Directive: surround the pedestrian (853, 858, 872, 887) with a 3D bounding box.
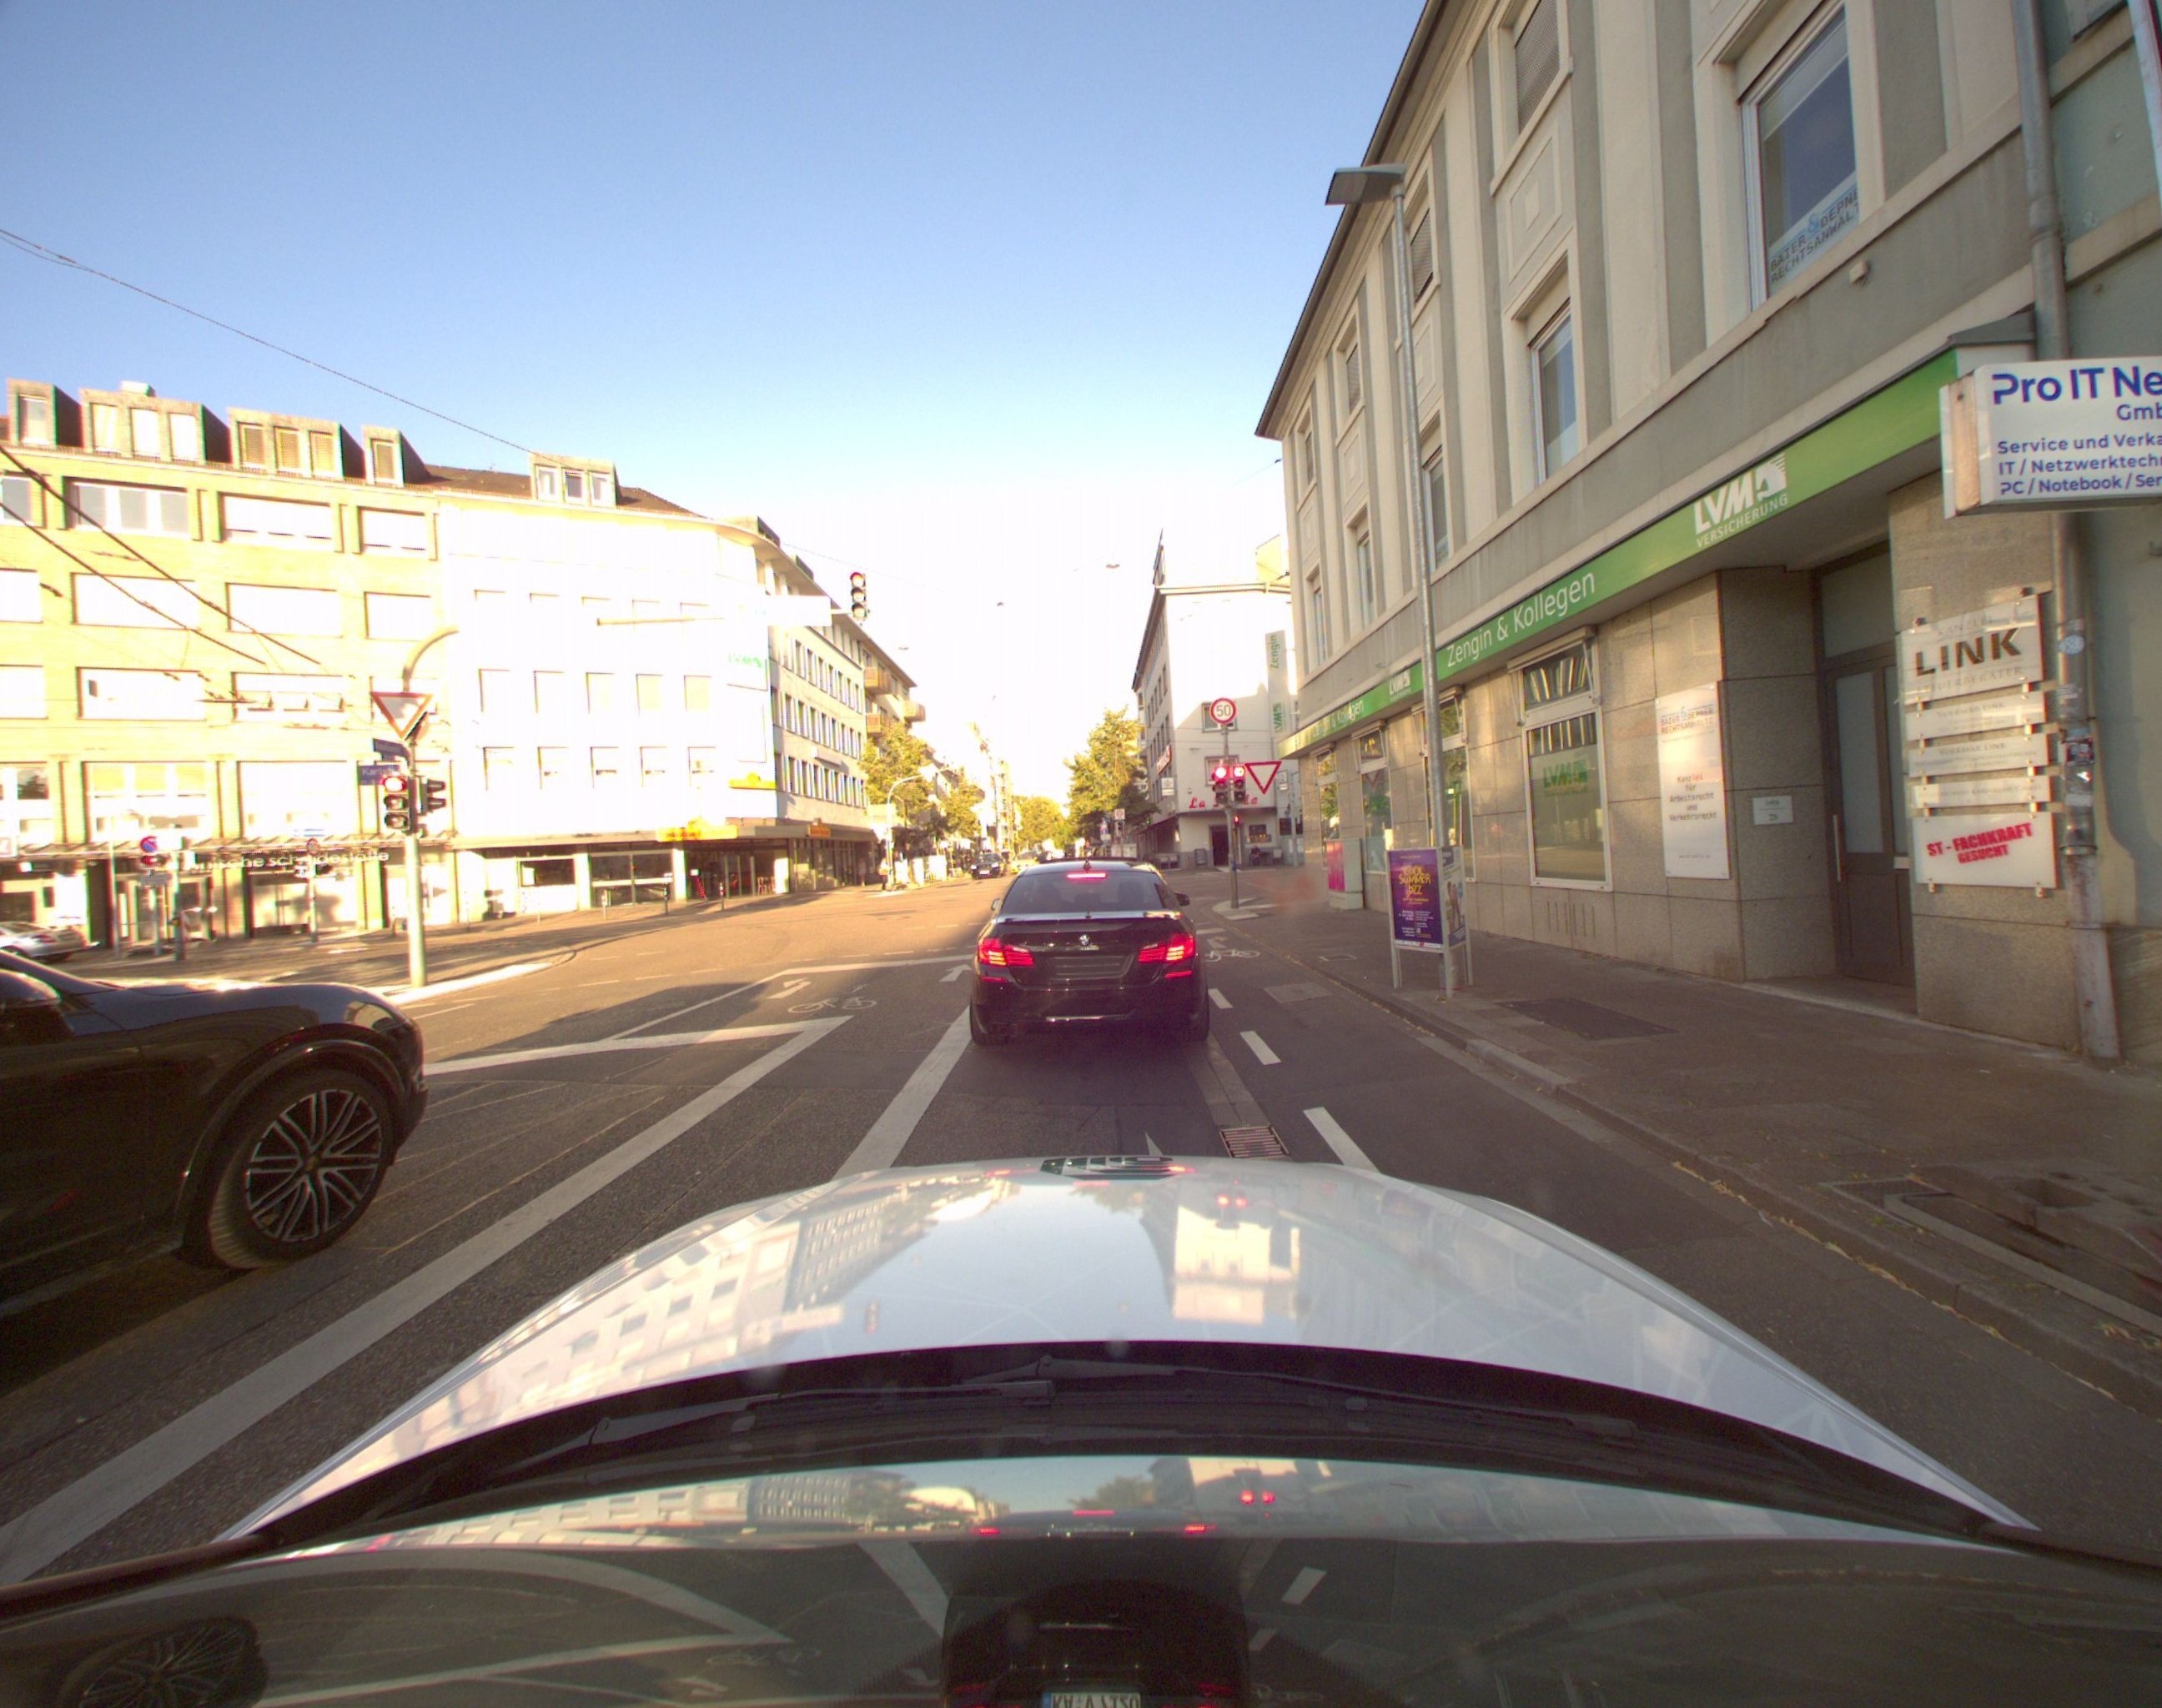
[{"bbox_3d":[-13.176,1.111,49.056,0.821,1.676,0.871,-3,0,-1],"label":"pedestrian"}]

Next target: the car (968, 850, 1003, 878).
[{"bbox_3d":[-6.120,0.639,52.540,1.990,1.618,3.993,-3,0,-5],"label":"car"}]

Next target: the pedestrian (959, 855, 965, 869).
[{"bbox_3d":[-12.306,0.835,84.404,0.443,1.416,0.525,-3,0,-2],"label":"pedestrian"}]

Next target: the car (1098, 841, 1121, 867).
[{"bbox_3d":[2.136,0.036,61.116,1.417,1.854,3.050,-2,0,-2],"label":"car"}]

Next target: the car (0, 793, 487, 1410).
[{"bbox_3d":[-4.016,0.751,1.785,1.942,1.714,4.561,-4,0,0],"label":"car"}]

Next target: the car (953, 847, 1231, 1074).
[{"bbox_3d":[0.065,0.707,7.796,1.898,1.540,4.448,0,0,-1],"label":"car"}]

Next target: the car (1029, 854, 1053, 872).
[{"bbox_3d":[-3.190,0.720,64.677,1.731,1.293,3.993,-3,0,-5],"label":"car"}]

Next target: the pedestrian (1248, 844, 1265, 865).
[{"bbox_3d":[9.981,0.009,46.249,0.695,1.157,0.843,-3,0,-1],"label":"pedestrian"}]

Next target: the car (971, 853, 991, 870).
[{"bbox_3d":[-9.739,0.713,79.431,1.731,1.461,3.993,-3,0,-5],"label":"car"}]

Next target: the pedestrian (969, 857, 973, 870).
[{"bbox_3d":[-11.402,0.970,84.615,0.306,1.359,0.284,-3,0,-9],"label":"pedestrian"}]

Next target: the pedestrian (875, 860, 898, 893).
[{"bbox_3d":[-9.490,1.098,39.734,0.945,1.537,0.906,-3,0,-8],"label":"pedestrian"}]

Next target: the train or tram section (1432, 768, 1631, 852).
[{"bbox_3d":[24.260,-2.449,43.433,12.696,3.865,3.052,-4,0,-30],"label":"train or tram section"}]

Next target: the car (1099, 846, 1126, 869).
[{"bbox_3d":[2.108,0.223,54.711,1.620,1.471,3.394,-2,0,0],"label":"car"}]

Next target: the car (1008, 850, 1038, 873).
[{"bbox_3d":[-4.150,0.505,57.935,1.990,1.442,3.993,-3,0,-5],"label":"car"}]
